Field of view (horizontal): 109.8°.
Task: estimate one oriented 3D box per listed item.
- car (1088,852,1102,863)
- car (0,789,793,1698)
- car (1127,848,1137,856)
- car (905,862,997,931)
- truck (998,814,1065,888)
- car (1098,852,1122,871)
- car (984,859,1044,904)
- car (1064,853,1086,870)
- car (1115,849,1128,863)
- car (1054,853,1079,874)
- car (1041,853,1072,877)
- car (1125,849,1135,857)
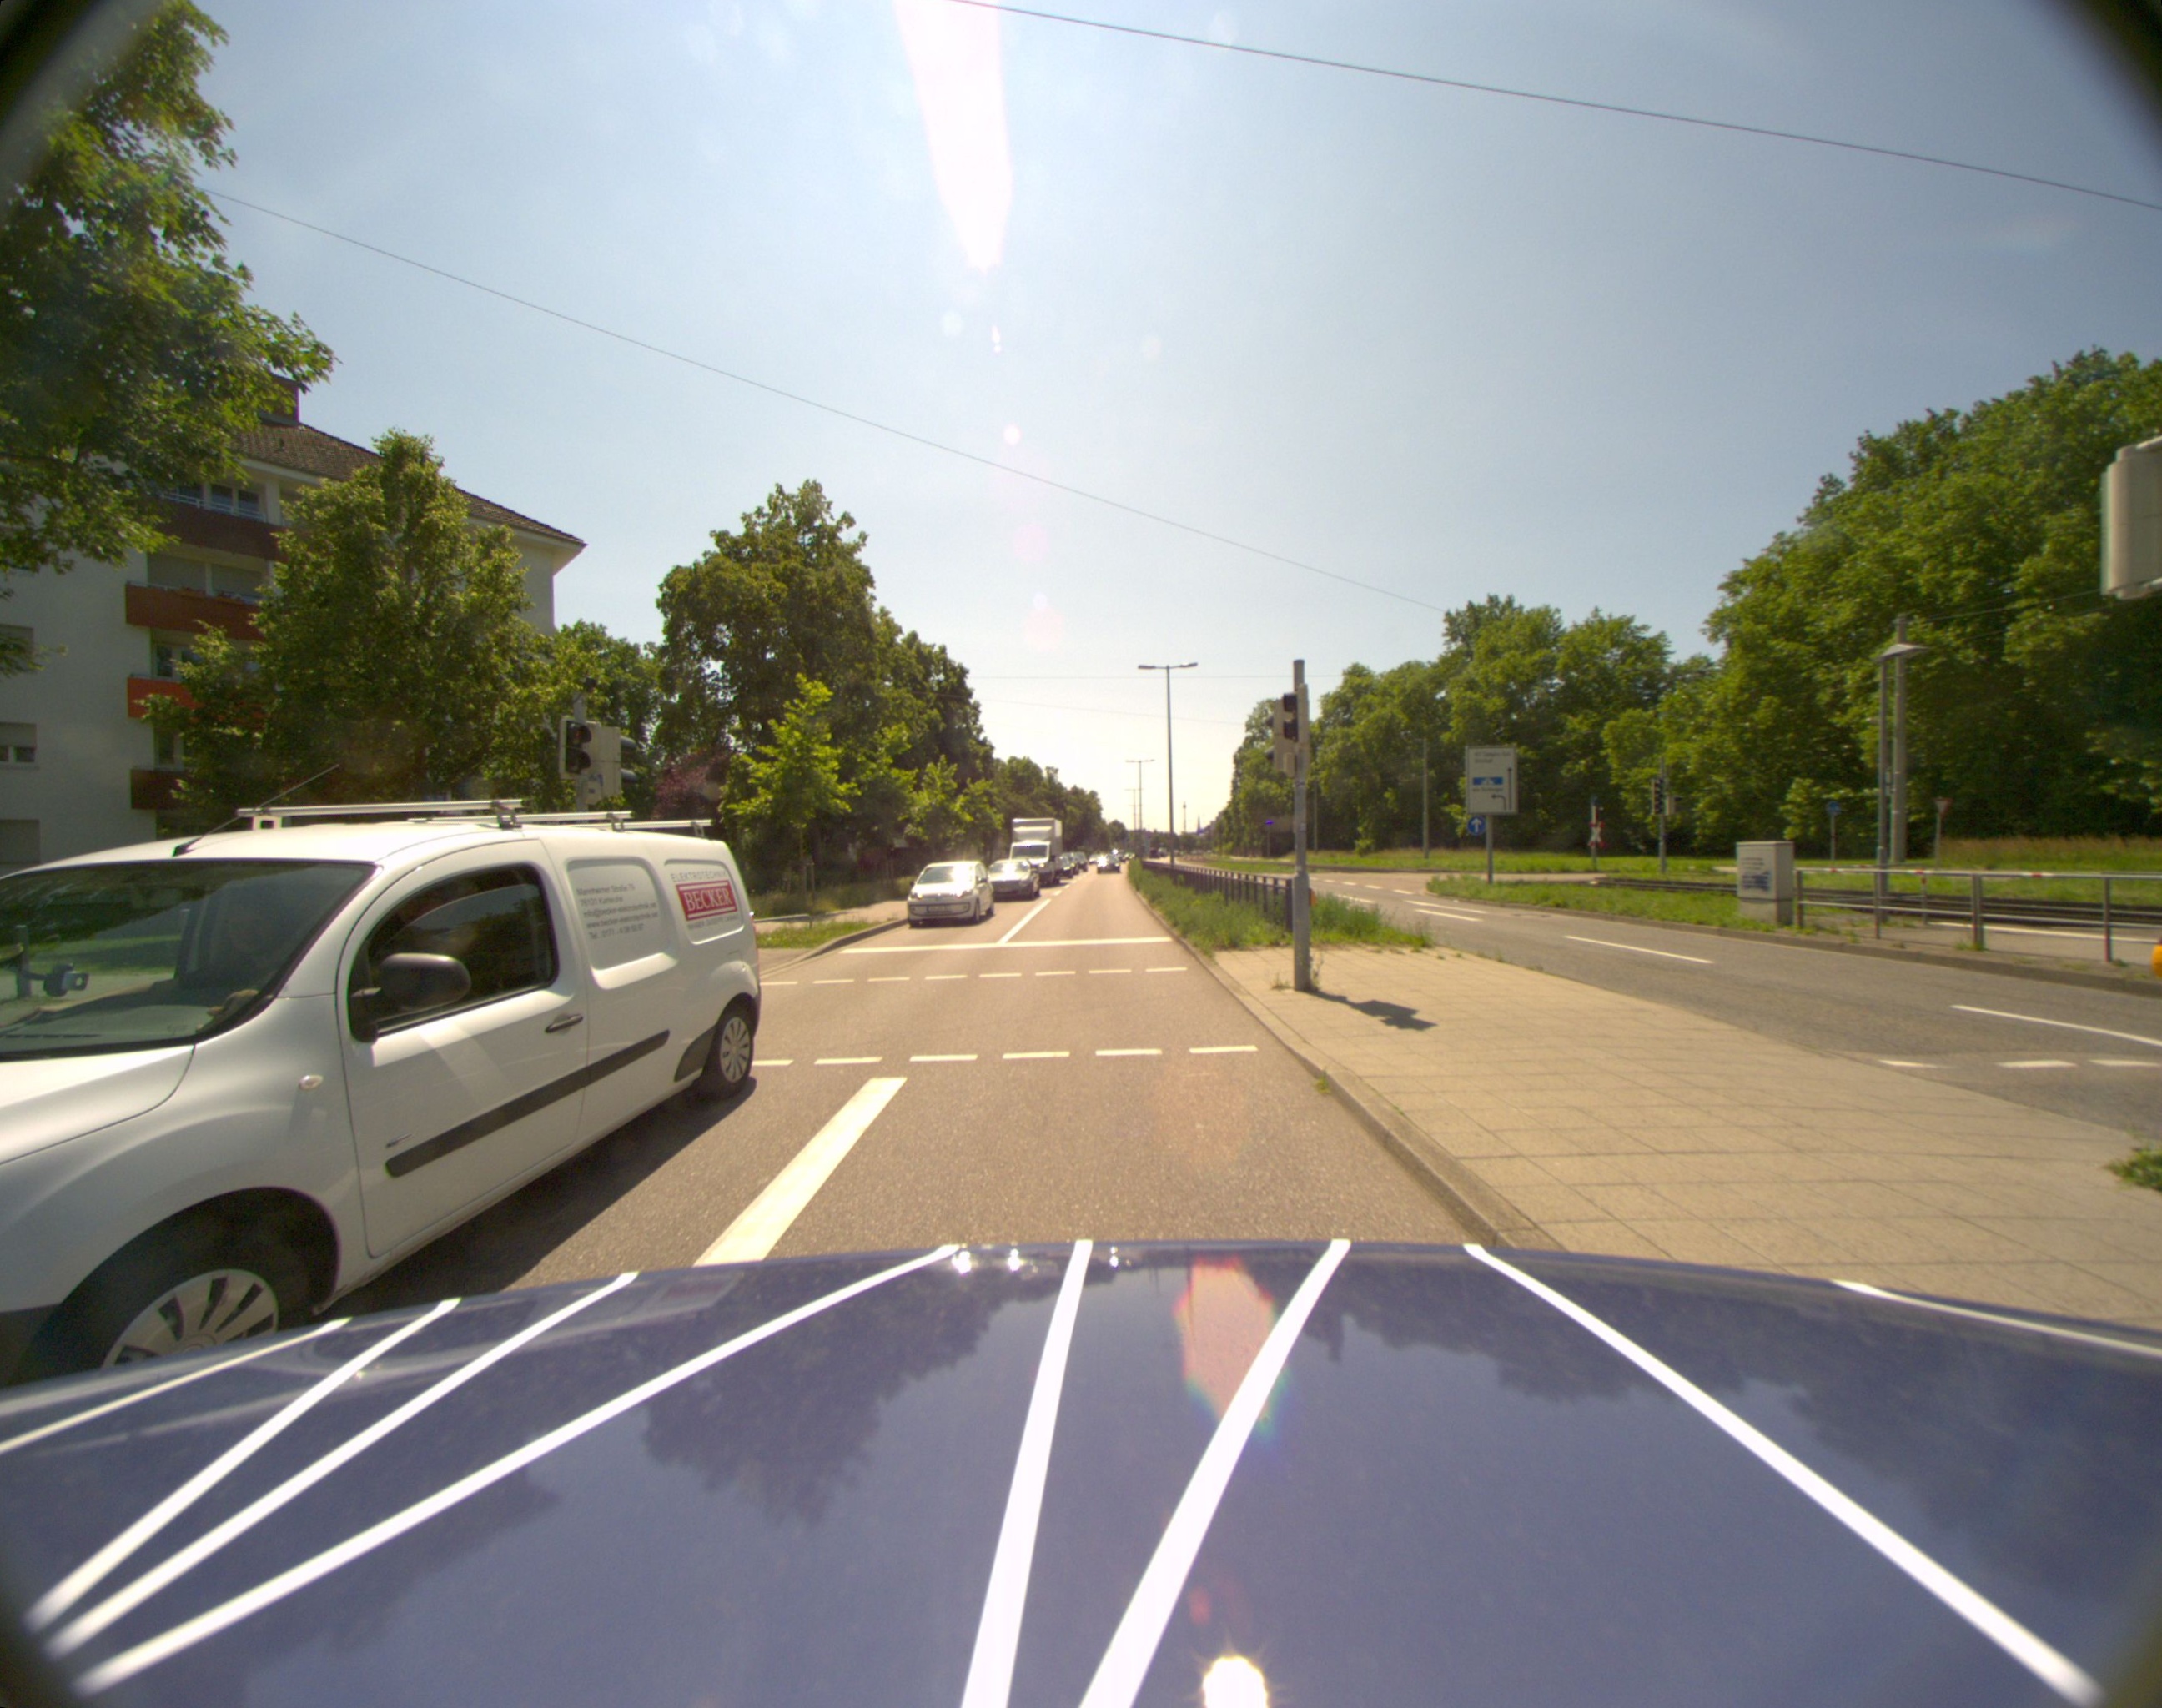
[{"bbox_3d":[1.950,0.521,105.154,1.745,1.382,3.888,-1,1,4],"label":"car"},{"bbox_3d":[-3.158,0.815,3.360,1.809,1.845,5.081,-3,0,-1],"label":"car"},{"bbox_3d":[9.903,-0.382,147.954,1.746,1.382,3.887,-1,1,1],"label":"car"},{"bbox_3d":[-3.123,0.986,18.900,1.626,1.433,3.498,-2,1,0],"label":"car"},{"bbox_3d":[-2.321,-0.154,37.764,2.489,3.277,6.605,-1,1,3],"label":"truck"},{"bbox_3d":[2.186,0.548,58.210,1.746,1.382,3.887,-1,1,1],"label":"car"},{"bbox_3d":[-2.350,0.934,27.411,1.618,1.373,4.114,-2,0,2],"label":"car"},{"bbox_3d":[-0.462,0.604,65.003,1.746,1.382,3.887,-1,1,1],"label":"car"},{"bbox_3d":[5.830,0.293,110.300,1.746,1.840,3.887,-1,1,1],"label":"car"},{"bbox_3d":[-1.066,0.694,57.610,1.618,1.373,4.114,-2,0,2],"label":"car"},{"bbox_3d":[-1.509,0.660,48.263,1.746,1.382,3.887,-1,1,1],"label":"car"},{"bbox_3d":[9.456,-0.152,147.525,1.745,1.382,3.889,-1,1,7],"label":"car"}]
